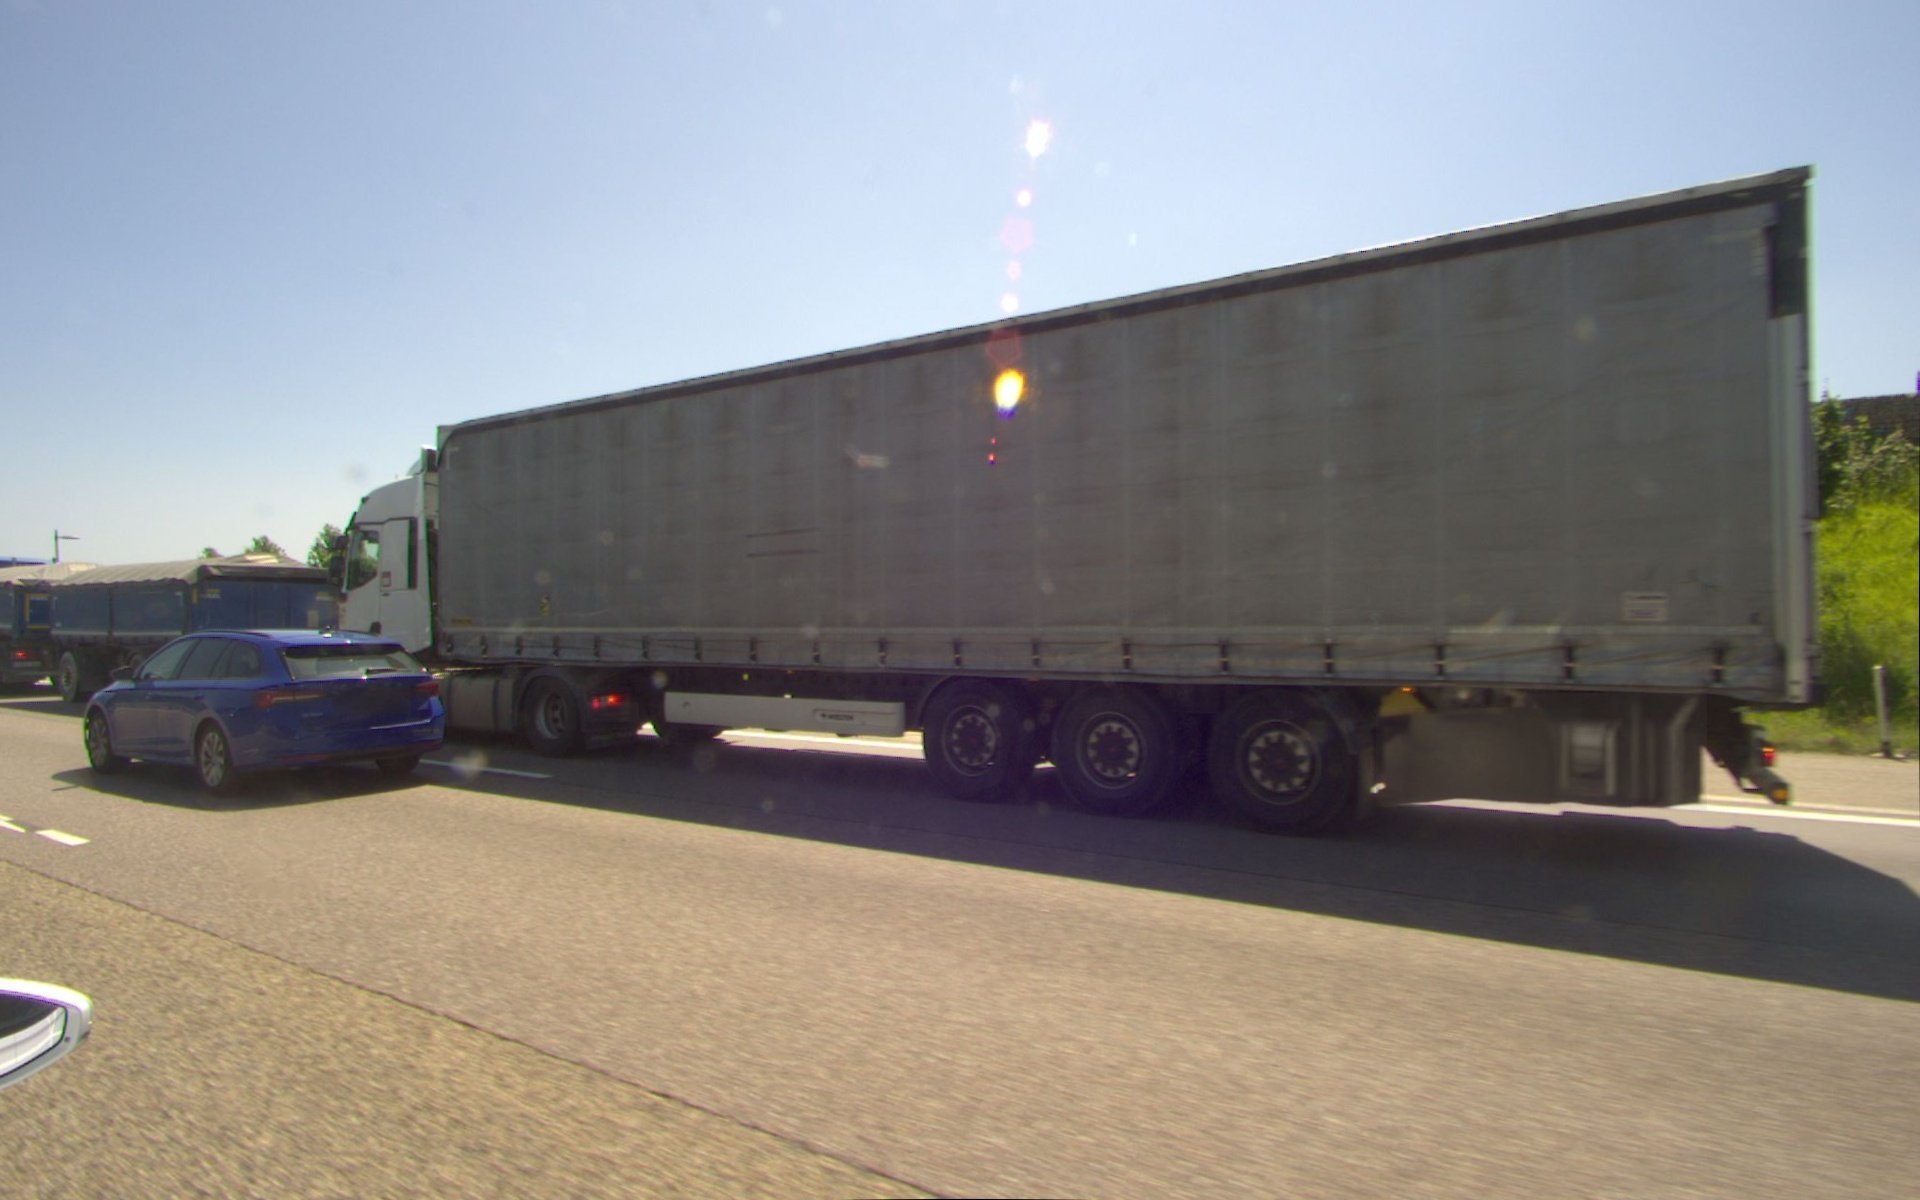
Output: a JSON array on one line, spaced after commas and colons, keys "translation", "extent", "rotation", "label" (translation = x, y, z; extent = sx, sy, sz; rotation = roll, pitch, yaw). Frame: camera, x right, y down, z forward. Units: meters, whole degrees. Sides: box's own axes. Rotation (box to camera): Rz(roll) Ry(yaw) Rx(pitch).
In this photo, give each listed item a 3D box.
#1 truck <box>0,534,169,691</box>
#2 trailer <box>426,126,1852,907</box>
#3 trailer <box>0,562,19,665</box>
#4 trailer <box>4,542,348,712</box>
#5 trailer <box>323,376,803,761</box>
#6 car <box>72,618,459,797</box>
[{"translation": [-22.528, 0.313, 24.569], "extent": [7.030, 3.354, 2.739], "rotation": [0, -1, 33], "label": "truck"}, {"translation": [-0.231, -0.335, 10.196], "extent": [13.557, 4.101, 2.957], "rotation": [-1, -2, 33], "label": "trailer"}, {"translation": [-36.387, 0.587, 33.678], "extent": [15.558, 3.117, 3.638], "rotation": [-2, -2, 34], "label": "trailer"}, {"translation": [-16.260, 0.496, 20.478], "extent": [8.985, 2.873, 2.739], "rotation": [0, -1, 33], "label": "trailer"}, {"translation": [-5.505, -0.262, 13.607], "extent": [6.319, 4.096, 2.919], "rotation": [0, -1, 33], "label": "trailer"}, {"translation": [-7.102, 0.960, 10.106], "extent": [4.366, 1.459, 1.703], "rotation": [-2, -2, 33], "label": "car"}]
